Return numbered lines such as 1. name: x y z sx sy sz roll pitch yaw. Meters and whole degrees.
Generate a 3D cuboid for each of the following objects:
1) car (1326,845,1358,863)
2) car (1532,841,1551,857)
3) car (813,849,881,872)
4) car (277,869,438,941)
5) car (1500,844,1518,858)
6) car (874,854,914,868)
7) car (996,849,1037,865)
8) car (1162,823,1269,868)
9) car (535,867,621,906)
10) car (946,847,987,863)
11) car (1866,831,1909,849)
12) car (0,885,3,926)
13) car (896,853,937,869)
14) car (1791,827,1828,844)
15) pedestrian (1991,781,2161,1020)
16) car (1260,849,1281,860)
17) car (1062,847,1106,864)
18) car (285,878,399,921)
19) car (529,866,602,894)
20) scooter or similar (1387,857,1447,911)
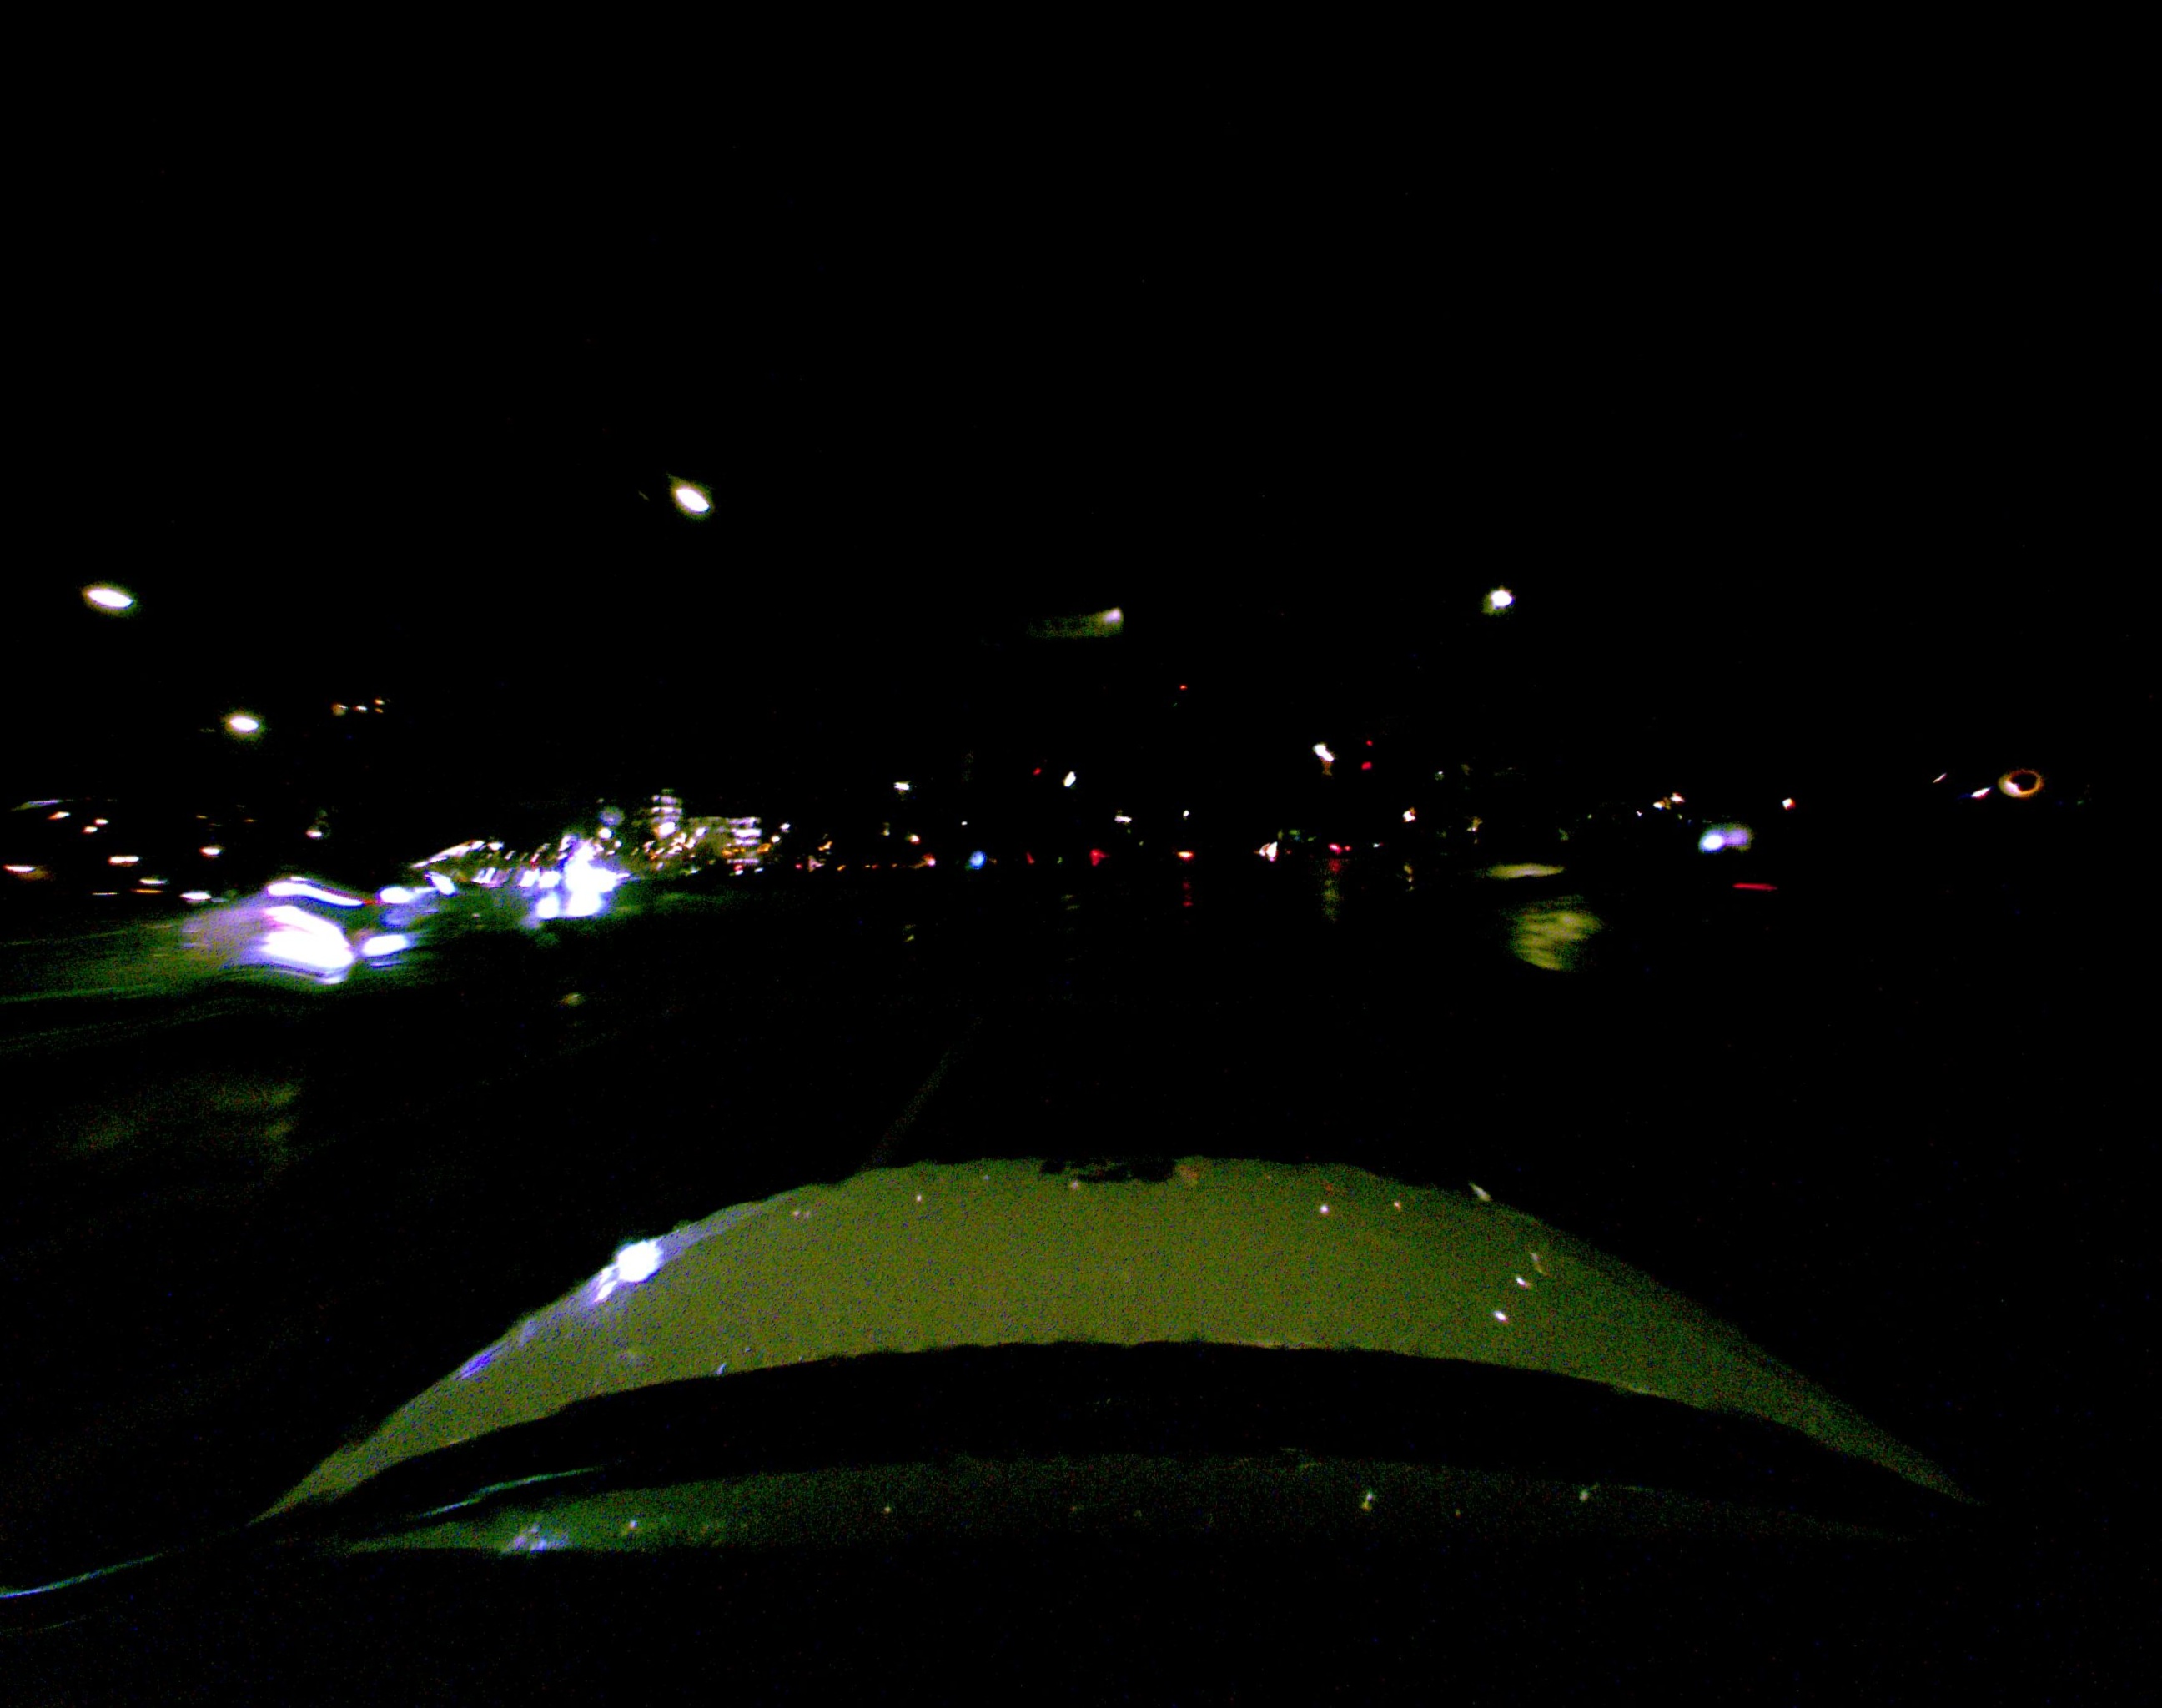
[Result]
1. car: 22.567 -0.047 70.492 1.709 1.496 3.916 -1 0 4
2. car: 48.732 -0.485 86.194 1.700 1.497 3.934 -2 -3 28
3. car: -23.507 0.627 81.802 6.322 2.089 2.495 -1 0 -24
4. car: -20.692 1.367 23.592 2.073 1.715 4.999 -1 0 -25
5. car: 46.195 -0.320 87.839 1.700 1.496 3.936 -1 0 29
6. car: -20.095 0.749 87.481 3.984 1.486 1.764 -1 0 -8
7. car: -6.622 0.273 83.609 3.932 1.578 1.880 -1 0 5
8. car: 6.292 -0.402 38.196 4.556 2.013 1.987 -1 0 -19
9. car: -25.526 1.603 41.548 2.058 1.732 5.111 -1 0 -12
10. car: -11.734 0.143 83.752 3.940 1.578 1.736 -1 0 -1
11. car: 72.227 -1.215 73.004 1.700 1.536 3.936 -1 0 29
12. car: -42.436 2.002 29.411 1.738 1.574 4.024 -1 0 44
13. car: -16.929 0.682 84.003 3.983 1.616 1.833 -1 0 -7
14. car: 67.705 -1.686 75.711 1.700 1.536 3.936 -1 0 29
15. pedestrian: 6.953 0.281 5.481 0.723 1.485 0.836 -1 0 0
16. car: 32.887 0.059 141.375 1.853 1.758 4.422 -1 0 38
17. car: 0.296 0.131 81.816 3.950 1.616 1.848 -1 0 26
18. car: -31.605 1.897 35.002 1.999 1.540 4.389 -1 0 -18
19. car: -40.375 1.994 63.874 1.975 2.013 4.449 -1 0 28
20. scooter or similar: 7.031 0.637 17.066 1.090 1.098 0.320 -3 -1 29
